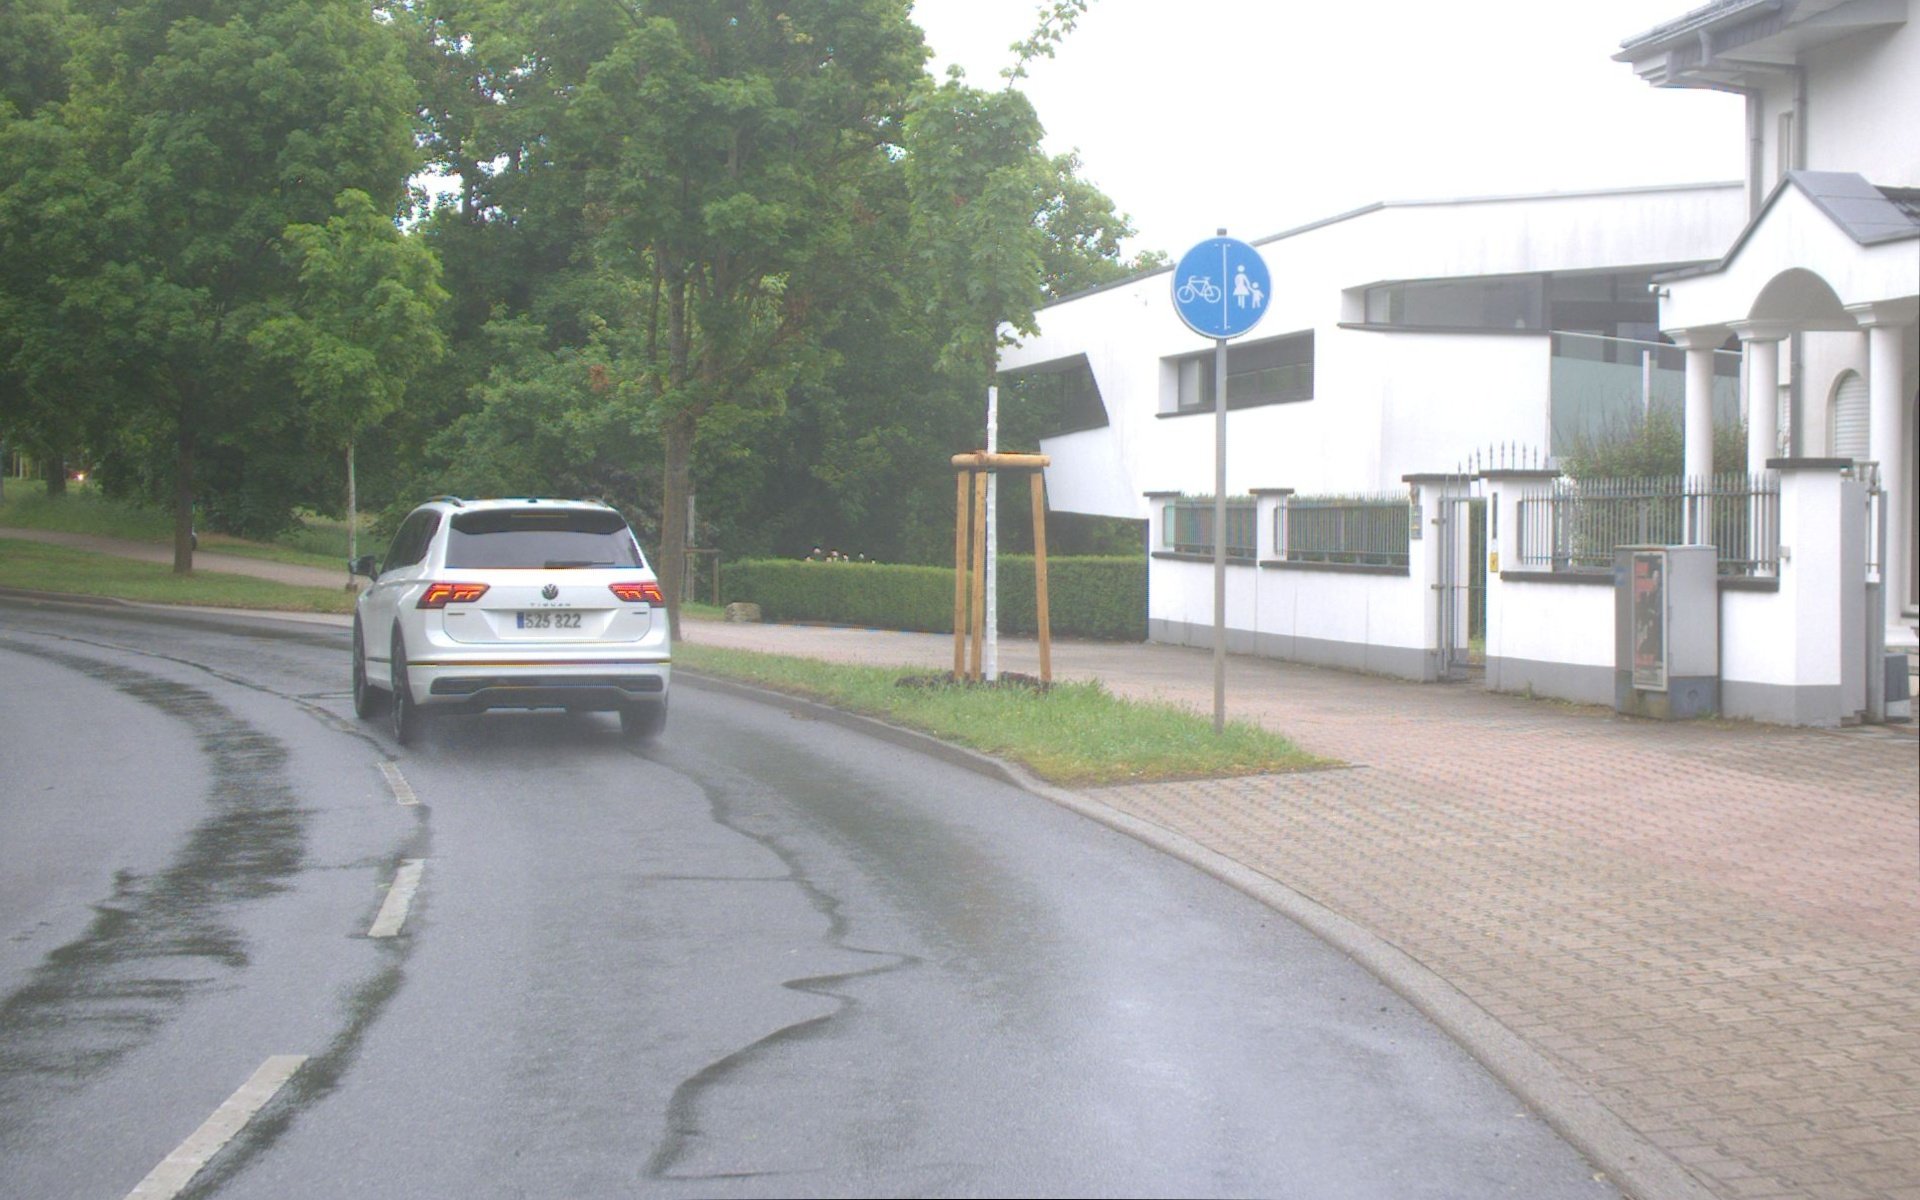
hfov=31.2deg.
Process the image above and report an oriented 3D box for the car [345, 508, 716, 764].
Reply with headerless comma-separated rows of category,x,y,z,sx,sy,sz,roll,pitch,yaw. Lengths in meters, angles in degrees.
car,-3.154,0.192,24.497,1.973,1.647,4.178,-1,1,-16
